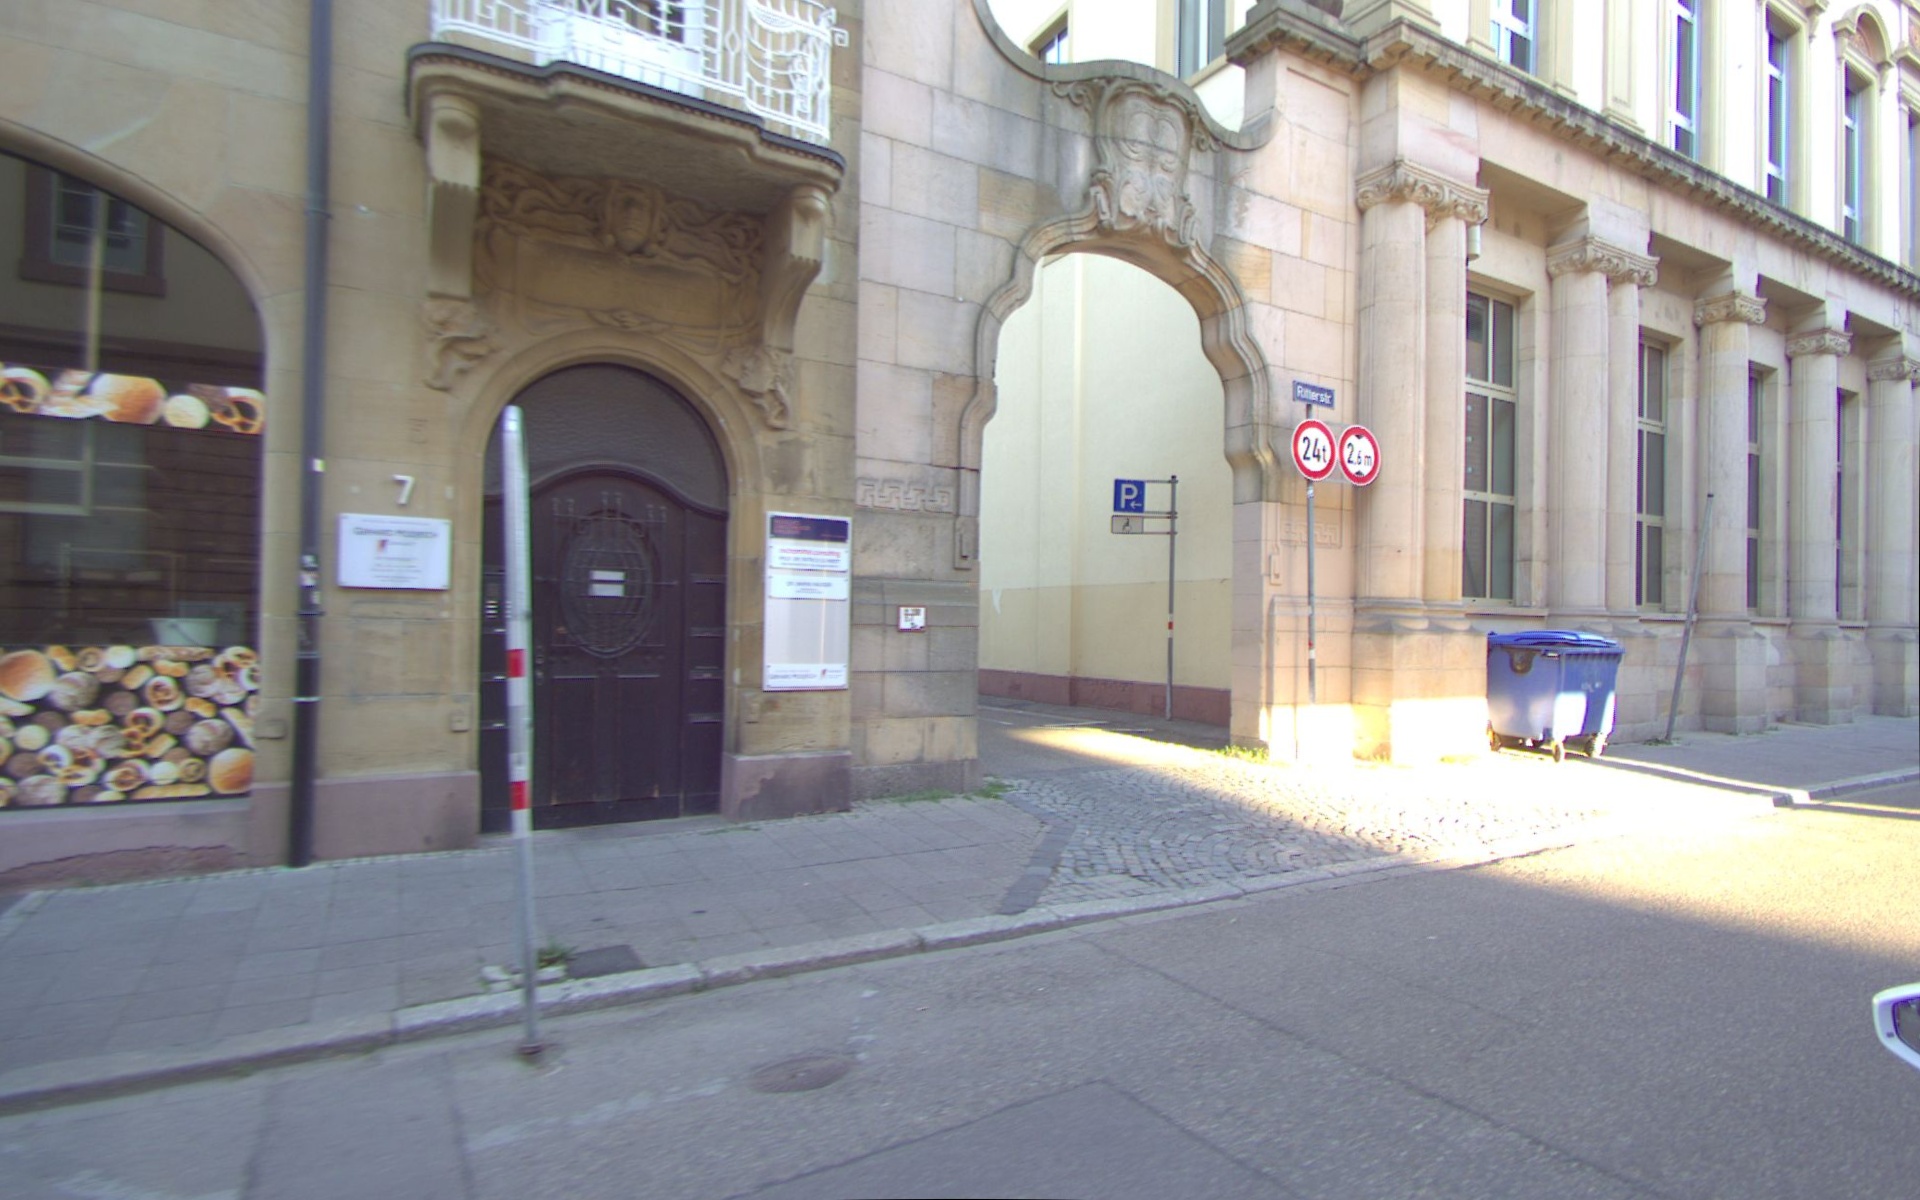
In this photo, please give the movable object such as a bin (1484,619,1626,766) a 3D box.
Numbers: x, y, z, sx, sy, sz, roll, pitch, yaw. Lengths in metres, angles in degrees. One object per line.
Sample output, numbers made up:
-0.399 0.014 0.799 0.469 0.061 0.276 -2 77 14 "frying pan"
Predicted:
6.585 0.980 11.131 1.275 1.523 0.825 1 0 -29 "movable object such as a bin"
